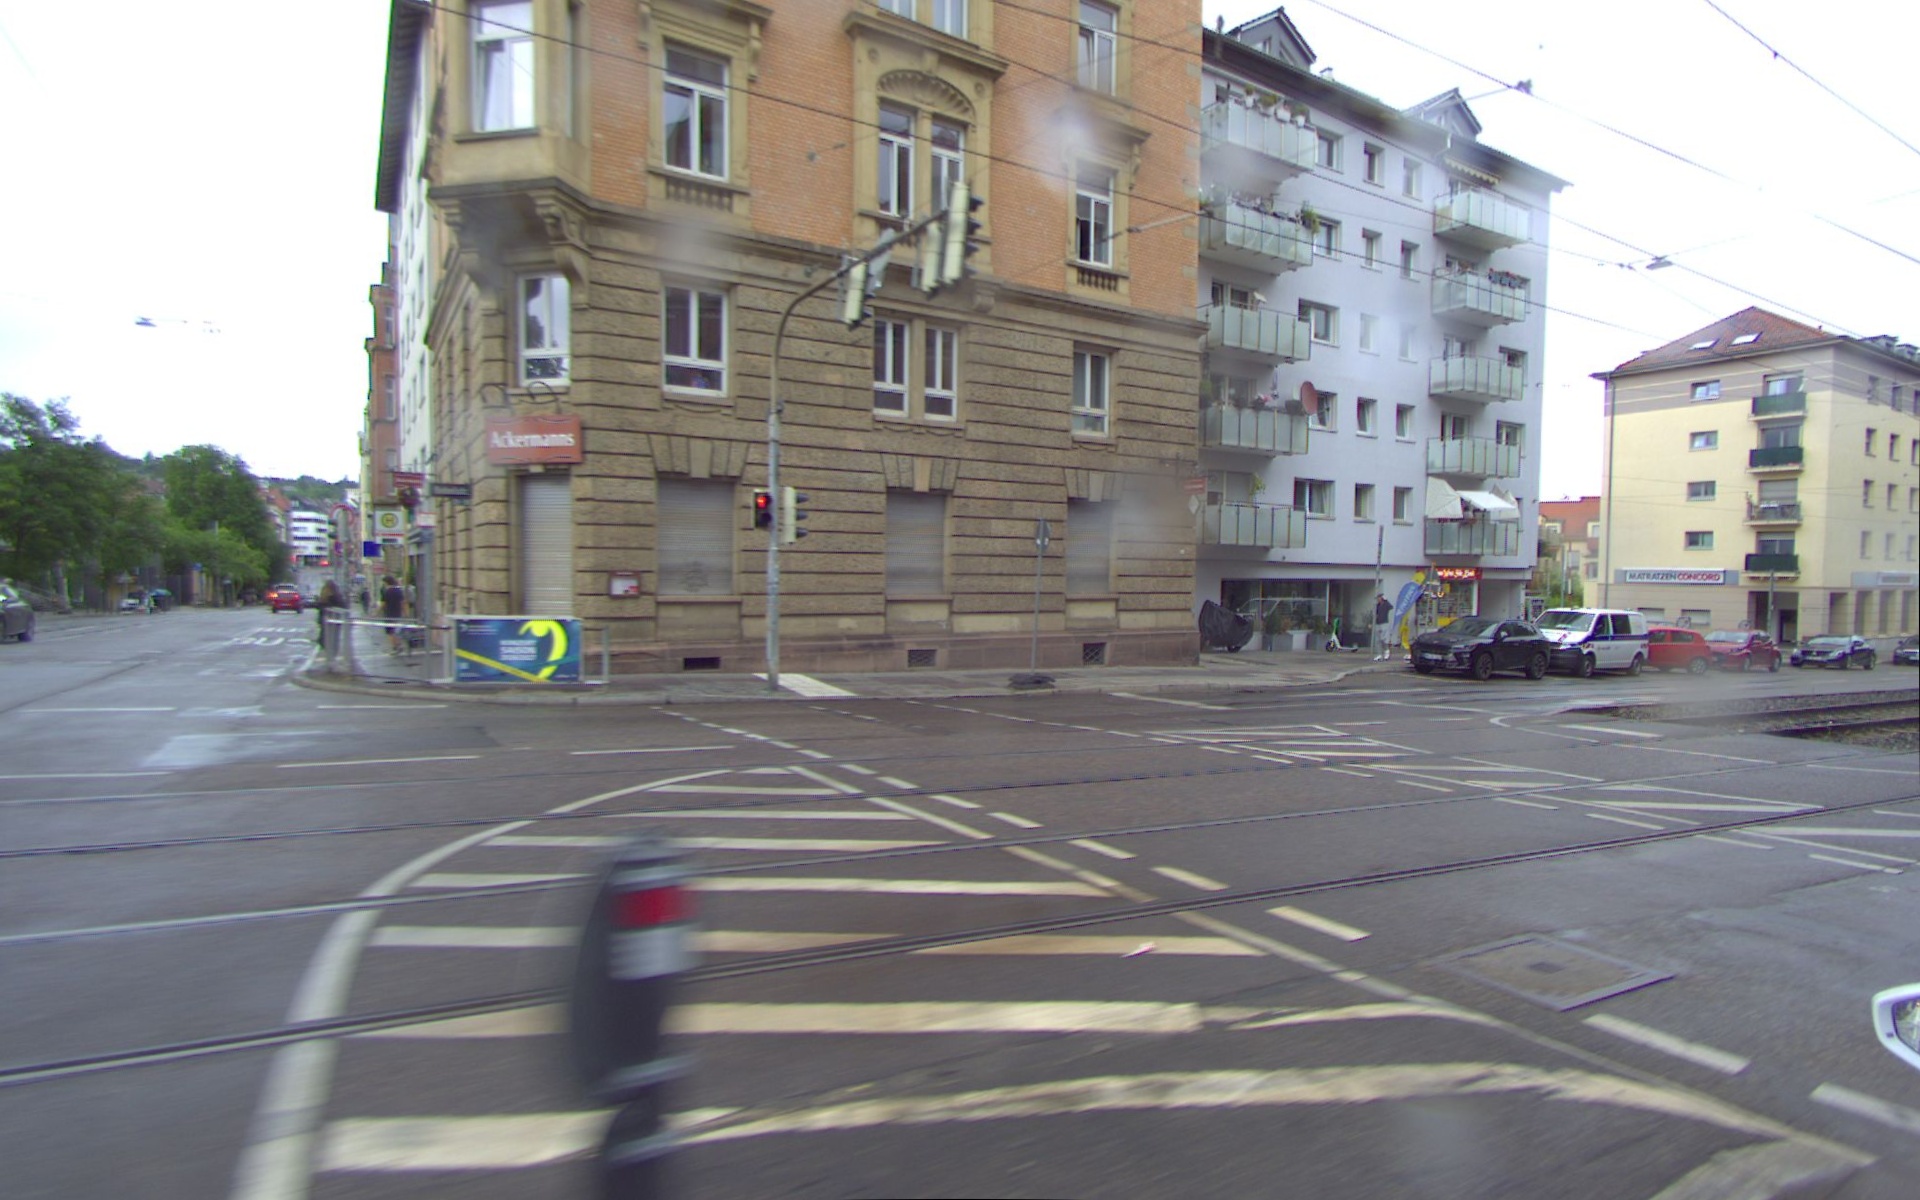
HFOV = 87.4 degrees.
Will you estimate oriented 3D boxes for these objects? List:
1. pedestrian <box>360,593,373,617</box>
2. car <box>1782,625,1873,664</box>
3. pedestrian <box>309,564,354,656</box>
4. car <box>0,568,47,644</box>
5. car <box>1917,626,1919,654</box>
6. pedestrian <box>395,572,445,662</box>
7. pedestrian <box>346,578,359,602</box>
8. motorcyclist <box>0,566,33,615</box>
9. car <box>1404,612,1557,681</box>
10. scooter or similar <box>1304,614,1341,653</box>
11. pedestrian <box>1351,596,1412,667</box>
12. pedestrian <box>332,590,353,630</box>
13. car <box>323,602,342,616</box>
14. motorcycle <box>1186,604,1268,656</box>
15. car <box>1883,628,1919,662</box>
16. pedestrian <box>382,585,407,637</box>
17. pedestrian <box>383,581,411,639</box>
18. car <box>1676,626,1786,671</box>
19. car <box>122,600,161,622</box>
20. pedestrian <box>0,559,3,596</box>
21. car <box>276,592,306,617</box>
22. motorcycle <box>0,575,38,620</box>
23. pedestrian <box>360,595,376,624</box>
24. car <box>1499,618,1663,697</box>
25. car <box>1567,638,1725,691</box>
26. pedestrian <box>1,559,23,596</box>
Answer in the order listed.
[{"bbox_3d":[-46.846,0.389,79.300,0.805,1.861,0.763,2,-1,-33],"label":"pedestrian"},{"bbox_3d":[35.339,1.824,40.878,4.575,1.414,1.669,3,-1,-34],"label":"car"},{"bbox_3d":[-12.559,0.193,20.069,0.635,1.791,0.620,-2,2,-41],"label":"pedestrian"},{"bbox_3d":[-23.190,0.113,23.644,1.822,1.687,3.964,2,-1,-33],"label":"car"},{"bbox_3d":[51.242,2.161,51.618,4.779,1.451,1.841,3,1,-33],"label":"car"},{"bbox_3d":[-11.394,0.357,21.201,0.616,1.864,0.639,1,-1,25],"label":"pedestrian"},{"bbox_3d":[-48.682,-0.816,80.488,0.805,1.861,0.763,2,-1,-33],"label":"pedestrian"},{"bbox_3d":[-26.076,-0.273,27.497,0.832,1.320,0.808,2,0,-31],"label":"motorcyclist"},{"bbox_3d":[13.988,1.237,26.944,4.317,1.673,1.722,2,0,-33],"label":"car"},{"bbox_3d":[11.526,1.068,31.976,0.314,1.225,1.079,2,-4,-42],"label":"scooter or similar"},{"bbox_3d":[12.090,0.897,28.835,1.168,1.954,1.162,2,0,-40],"label":"pedestrian"},{"bbox_3d":[-29.566,0.480,48.106,0.805,1.861,0.763,2,-1,-33],"label":"pedestrian"},{"bbox_3d":[-65.535,0.907,104.844,1.619,1.309,3.983,2,0,-33],"label":"car"},{"bbox_3d":[7.655,0.864,28.749,2.284,1.394,0.923,2,1,-33],"label":"motorcycle"},{"bbox_3d":[46.215,2.193,48.345,4.948,1.528,1.837,3,-1,-38],"label":"car"},{"bbox_3d":[-18.841,0.348,33.458,0.659,1.692,0.826,2,0,-29],"label":"pedestrian"},{"bbox_3d":[-16.667,0.306,29.757,0.587,1.690,0.599,2,0,-22],"label":"pedestrian"},{"bbox_3d":[27.558,1.737,35.860,4.025,1.470,1.646,3,-1,-29],"label":"car"},{"bbox_3d":[-62.186,0.807,76.382,1.798,1.610,3.965,2,-1,-32],"label":"car"},{"bbox_3d":[-43.506,-1.023,45.139,0.569,1.651,0.568,2,0,-33],"label":"pedestrian"},{"bbox_3d":[-47.182,0.292,70.891,1.619,1.603,3.963,2,1,-33],"label":"car"},{"bbox_3d":[-26.021,-0.092,27.421,0.856,1.174,1.836,2,0,-31],"label":"motorcycle"},{"bbox_3d":[-38.736,0.632,65.745,0.805,1.861,0.763,2,-1,-33],"label":"pedestrian"},{"bbox_3d":[18.780,1.694,30.289,5.245,2.036,2.058,2,3,-33],"label":"car"},{"bbox_3d":[22.543,2.095,33.121,3.903,1.453,1.786,2,0,2],"label":"car"},{"bbox_3d":[-43.215,-1.004,45.792,0.593,1.651,0.568,2,0,-33],"label":"pedestrian"}]
